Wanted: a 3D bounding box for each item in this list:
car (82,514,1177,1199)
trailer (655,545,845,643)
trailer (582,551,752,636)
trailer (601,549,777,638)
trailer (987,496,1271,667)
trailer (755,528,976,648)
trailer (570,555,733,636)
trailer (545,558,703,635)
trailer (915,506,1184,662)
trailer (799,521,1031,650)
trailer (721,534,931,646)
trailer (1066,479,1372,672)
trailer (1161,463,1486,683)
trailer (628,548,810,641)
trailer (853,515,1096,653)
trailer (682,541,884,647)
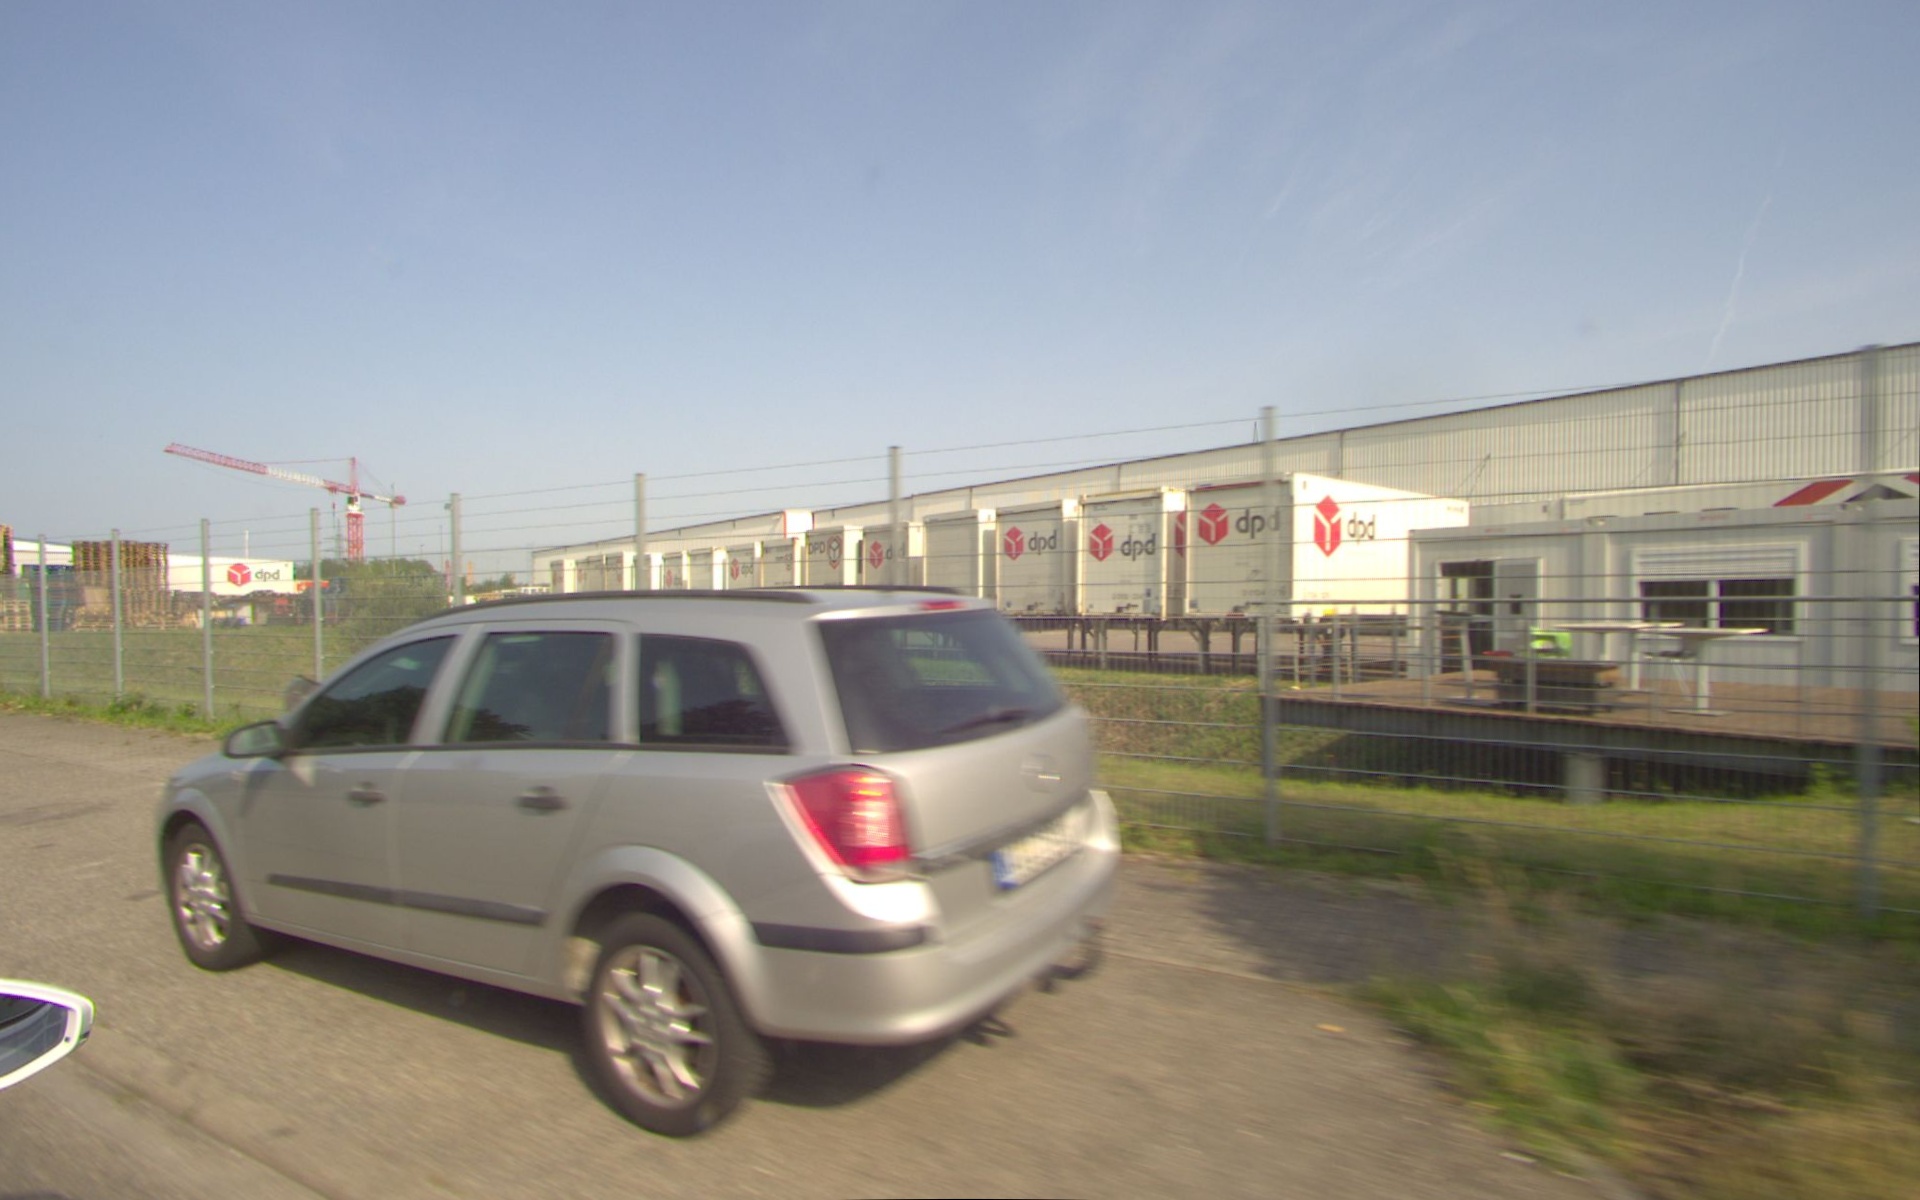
[{"bbox_3d":[-1.527,0.620,4.080,4.383,1.648,1.795,0,2,31],"label":"car"},{"bbox_3d":[-9.248,-0.133,44.834,7.904,3.944,2.751,3,-1,-40],"label":"trailer"},{"bbox_3d":[-14.967,-0.218,51.588,7.904,3.944,2.751,3,-1,-40],"label":"trailer"},{"bbox_3d":[-13.218,-0.202,49.339,7.904,3.944,2.751,3,-1,-40],"label":"trailer"},{"bbox_3d":[4.739,-0.272,26.773,8.246,3.944,2.751,3,-1,-40],"label":"trailer"},{"bbox_3d":[-3.311,-0.282,36.877,7.904,3.944,2.751,3,-1,-40],"label":"trailer"},{"bbox_3d":[-16.477,-0.139,53.953,7.904,3.944,2.718,3,-1,-40],"label":"trailer"},{"bbox_3d":[-18.790,-0.118,56.345,7.904,3.944,2.718,3,-1,-40],"label":"trailer"},{"bbox_3d":[2.828,-0.263,29.134,8.246,3.944,2.751,3,-1,-40],"label":"trailer"},{"bbox_3d":[-1.393,-0.317,34.578,7.904,3.944,2.751,3,-1,-40],"label":"trailer"},{"bbox_3d":[-5.136,-0.258,39.512,7.904,3.944,2.751,3,-1,-40],"label":"trailer"},{"bbox_3d":[6.557,-0.350,24.327,8.473,3.944,2.751,3,-1,-40],"label":"trailer"},{"bbox_3d":[8.179,-0.338,21.757,8.473,3.944,2.751,3,-1,-40],"label":"trailer"},{"bbox_3d":[-11.217,-0.162,47.196,7.904,3.944,2.751,3,-1,-40],"label":"trailer"},{"bbox_3d":[0.661,-0.343,32.441,7.974,3.944,2.751,3,-1,-40],"label":"trailer"},{"bbox_3d":[-7.206,-0.117,41.700,7.904,3.944,2.751,3,-1,-40],"label":"trailer"}]
